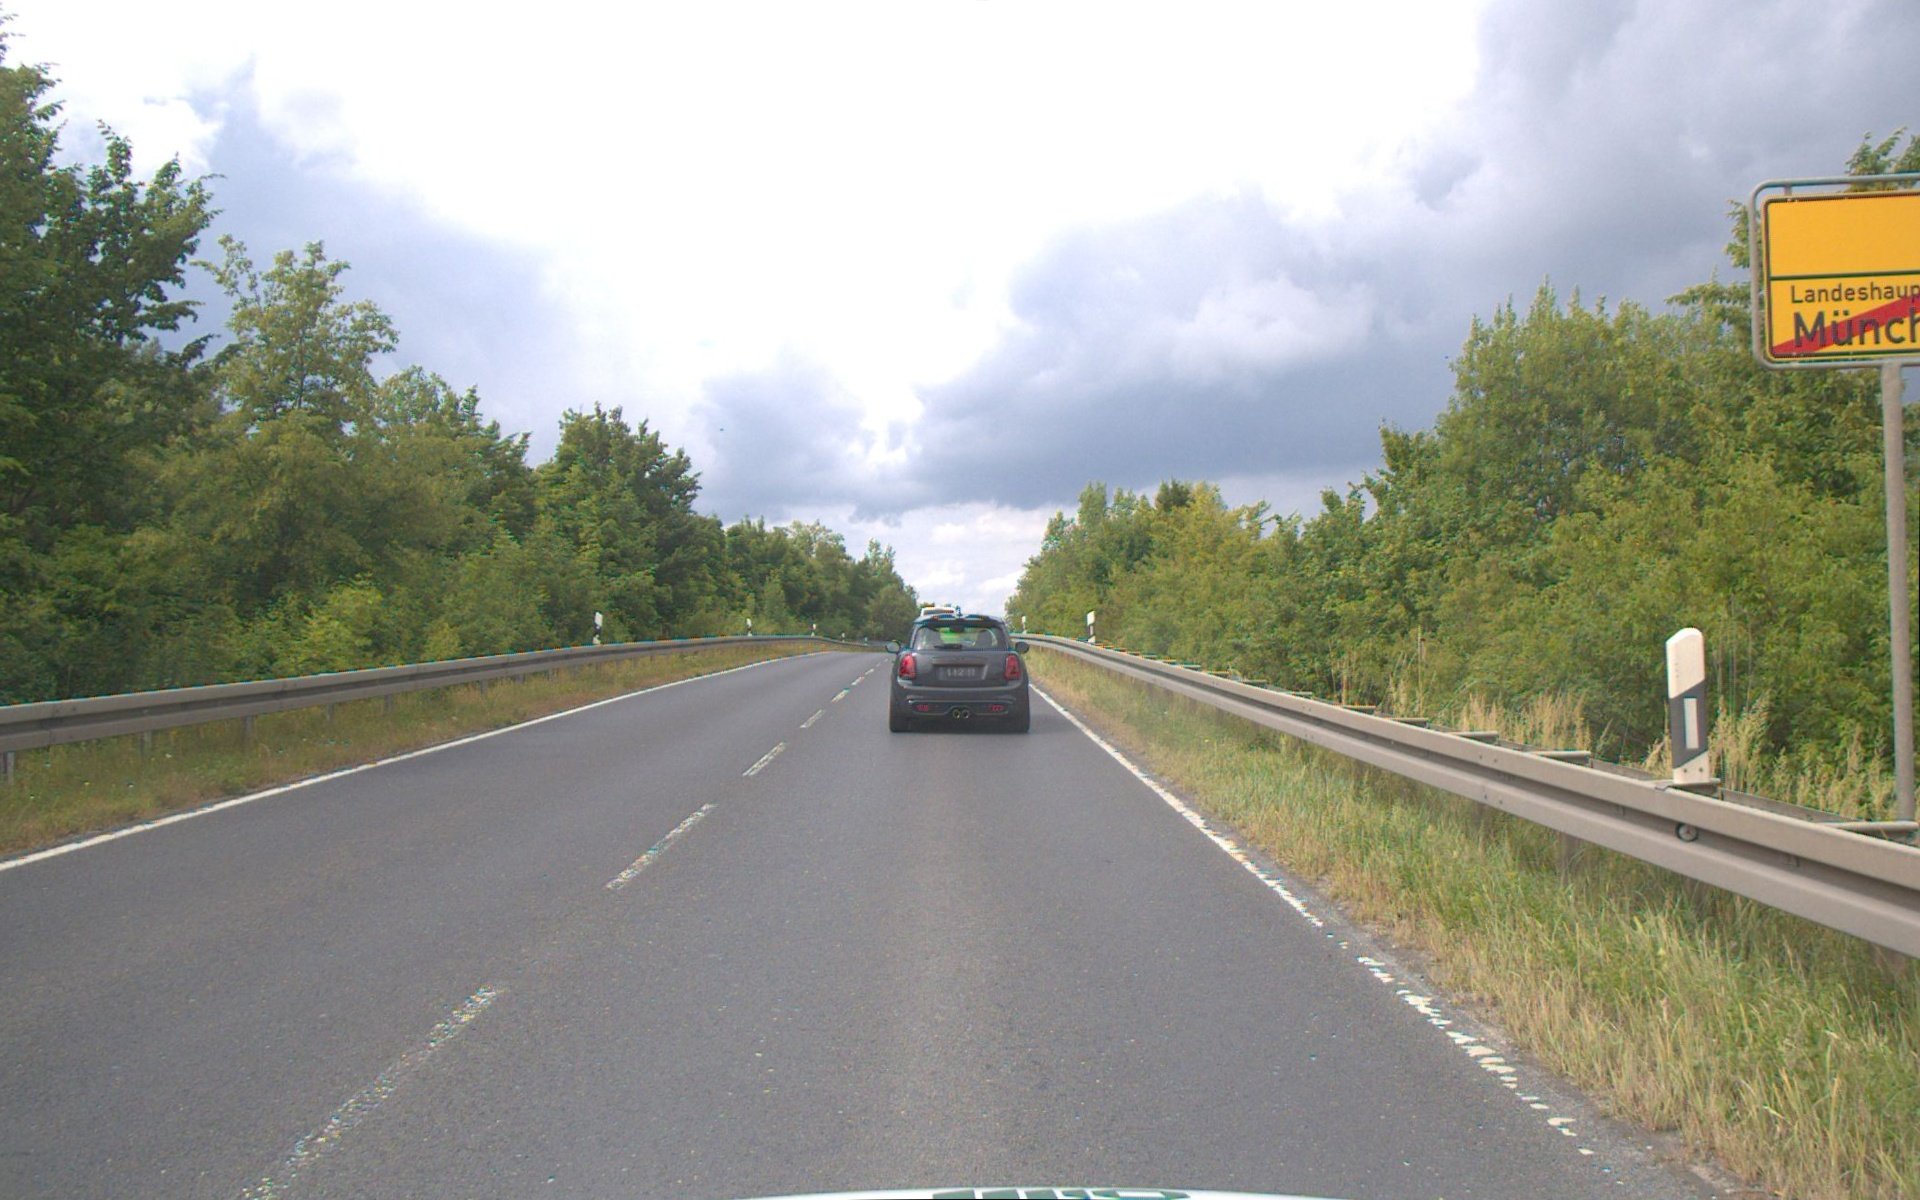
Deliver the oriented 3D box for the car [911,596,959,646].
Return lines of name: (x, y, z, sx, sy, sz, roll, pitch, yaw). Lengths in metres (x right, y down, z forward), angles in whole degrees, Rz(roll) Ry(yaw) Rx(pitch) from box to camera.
car: (-1.062, 0.906, 71.679, 1.981, 2.049, 3.999, -1, -1, 0)

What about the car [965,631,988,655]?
car: (1.676, 4.337, 167.259, 1.953, 2.047, 4.002, -7, 1, 3)

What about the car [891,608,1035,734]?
car: (0.063, 0.840, 21.438, 1.696, 1.481, 4.000, 0, 0, 1)
